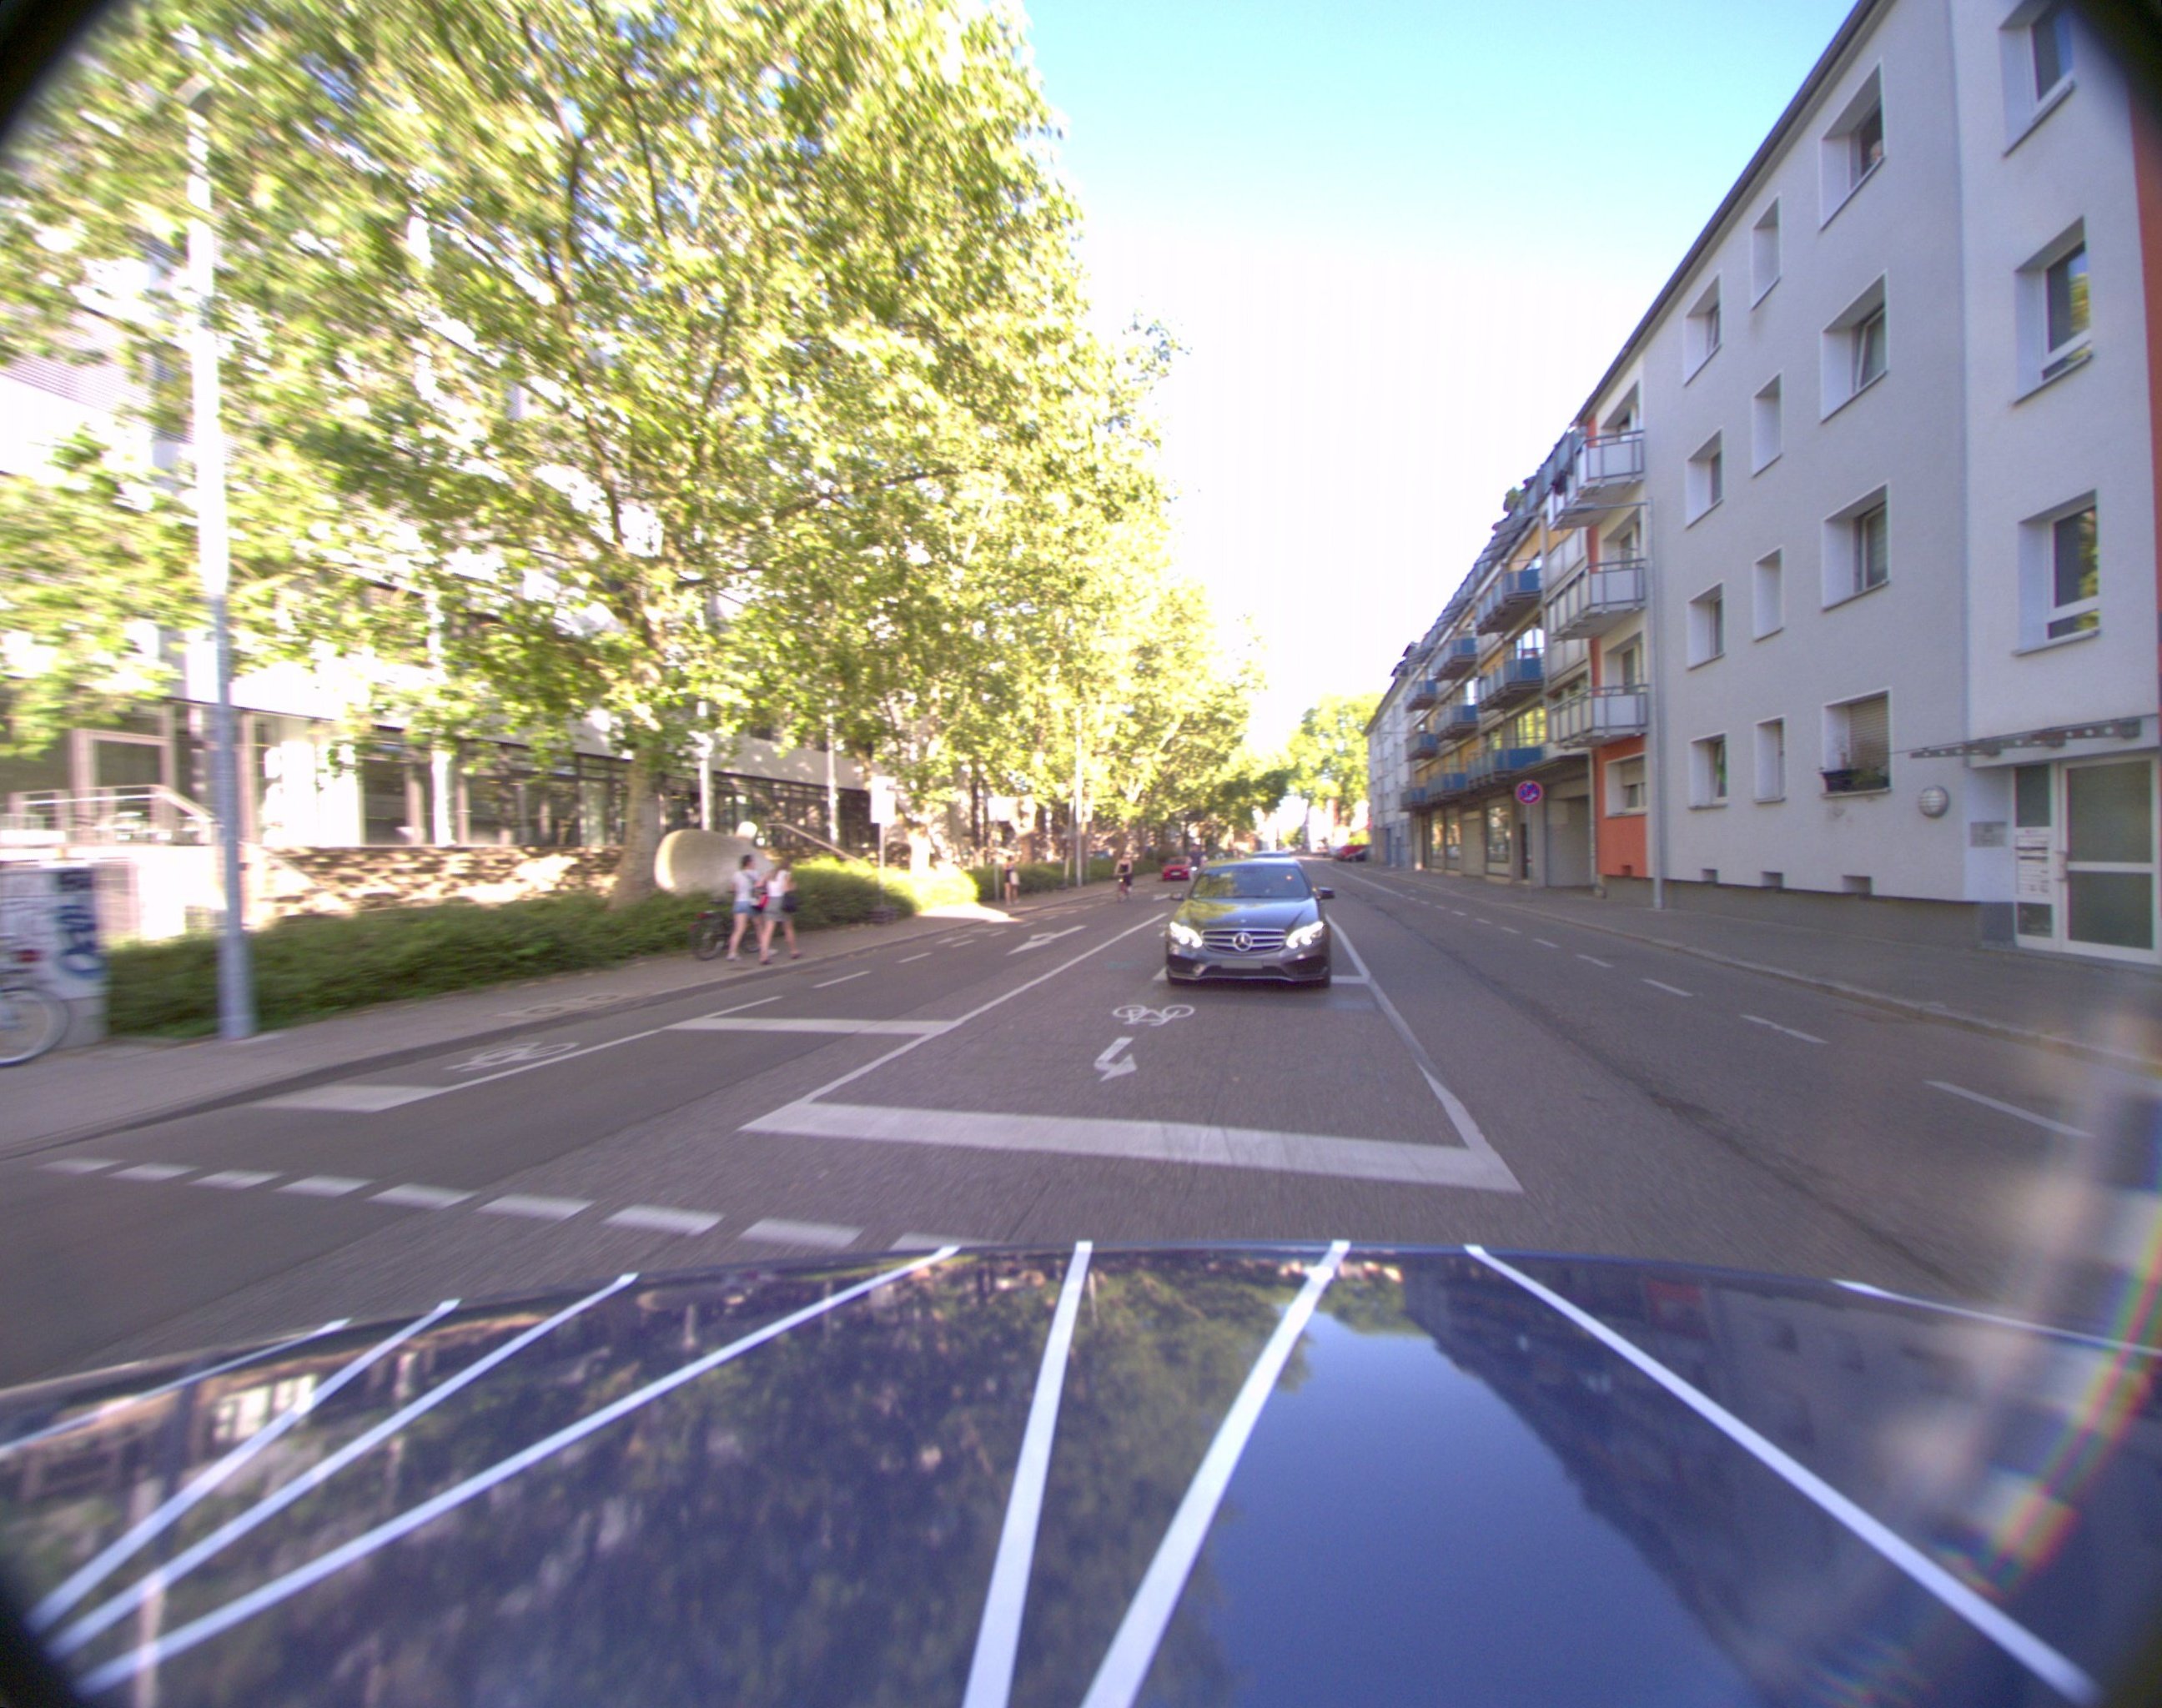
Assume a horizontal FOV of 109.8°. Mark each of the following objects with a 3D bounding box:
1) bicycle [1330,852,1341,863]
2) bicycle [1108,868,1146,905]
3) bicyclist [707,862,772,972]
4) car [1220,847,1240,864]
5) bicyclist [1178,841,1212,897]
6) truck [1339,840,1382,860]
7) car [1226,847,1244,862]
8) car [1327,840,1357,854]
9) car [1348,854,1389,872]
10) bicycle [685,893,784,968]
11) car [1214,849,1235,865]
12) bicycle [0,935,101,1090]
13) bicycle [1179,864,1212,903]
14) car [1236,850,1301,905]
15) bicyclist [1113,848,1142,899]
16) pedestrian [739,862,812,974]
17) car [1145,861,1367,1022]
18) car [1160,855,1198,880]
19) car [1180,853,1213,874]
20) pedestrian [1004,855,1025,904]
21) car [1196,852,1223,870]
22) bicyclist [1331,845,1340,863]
[{"bbox_3d":[24.131,0.347,72.110,0.691,0.980,2.634,-2,1,14],"label":"bicycle"},{"bbox_3d":[1.620,1.091,26.198,0.769,1.129,2.818,-3,-1,13],"label":"bicycle"},{"bbox_3d":[-5.580,1.007,12.446,0.633,1.704,0.655,0,3,14],"label":"bicyclist"},{"bbox_3d":[17.172,0.194,87.294,1.896,1.841,4.081,-1,0,16],"label":"car"},{"bbox_3d":[3.817,0.482,25.340,0.769,1.722,0.902,-10,-1,14],"label":"bicyclist"},{"bbox_3d":[32.469,-0.490,88.321,4.399,2.146,1.879,-2,1,13],"label":"truck"},{"bbox_3d":[19.891,0.019,97.954,1.896,1.807,4.081,-1,0,16],"label":"car"},{"bbox_3d":[38.673,-1.005,112.850,3.993,2.002,2.002,-2,1,13],"label":"car"},{"bbox_3d":[31.443,0.997,83.160,3.993,1.825,1.832,-2,1,13],"label":"car"},{"bbox_3d":[-5.618,1.218,12.428,0.521,1.029,1.649,-1,1,14],"label":"bicycle"},{"bbox_3d":[15.660,0.266,82.768,1.896,1.642,4.081,-1,0,16],"label":"car"},{"bbox_3d":[-9.436,1.319,6.102,1.994,1.175,0.470,-2,2,-15],"label":"bicycle"},{"bbox_3d":[3.852,0.954,25.290,0.769,1.129,2.818,-3,0,14],"label":"bicycle"},{"bbox_3d":[6.222,0.724,24.903,1.745,1.594,4.005,-1,1,18],"label":"car"},{"bbox_3d":[1.610,0.658,26.286,0.769,1.670,0.896,-3,1,14],"label":"bicyclist"},{"bbox_3d":[-4.880,0.997,12.170,0.774,1.710,0.692,0,3,14],"label":"pedestrian"},{"bbox_3d":[2.564,0.904,10.026,1.795,1.460,4.727,-1,1,26],"label":"car"},{"bbox_3d":[6.091,0.799,46.888,1.896,1.435,4.081,-1,0,13],"label":"car"},{"bbox_3d":[8.647,0.668,56.796,1.896,1.443,4.081,-1,0,16],"label":"car"},{"bbox_3d":[-2.183,0.828,24.967,0.462,1.585,0.683,-1,1,14],"label":"pedestrian"},{"bbox_3d":[11.182,0.581,65.848,1.896,1.443,4.081,-1,0,16],"label":"car"},{"bbox_3d":[24.134,0.011,72.143,0.691,1.621,0.759,-2,1,14],"label":"bicyclist"}]
